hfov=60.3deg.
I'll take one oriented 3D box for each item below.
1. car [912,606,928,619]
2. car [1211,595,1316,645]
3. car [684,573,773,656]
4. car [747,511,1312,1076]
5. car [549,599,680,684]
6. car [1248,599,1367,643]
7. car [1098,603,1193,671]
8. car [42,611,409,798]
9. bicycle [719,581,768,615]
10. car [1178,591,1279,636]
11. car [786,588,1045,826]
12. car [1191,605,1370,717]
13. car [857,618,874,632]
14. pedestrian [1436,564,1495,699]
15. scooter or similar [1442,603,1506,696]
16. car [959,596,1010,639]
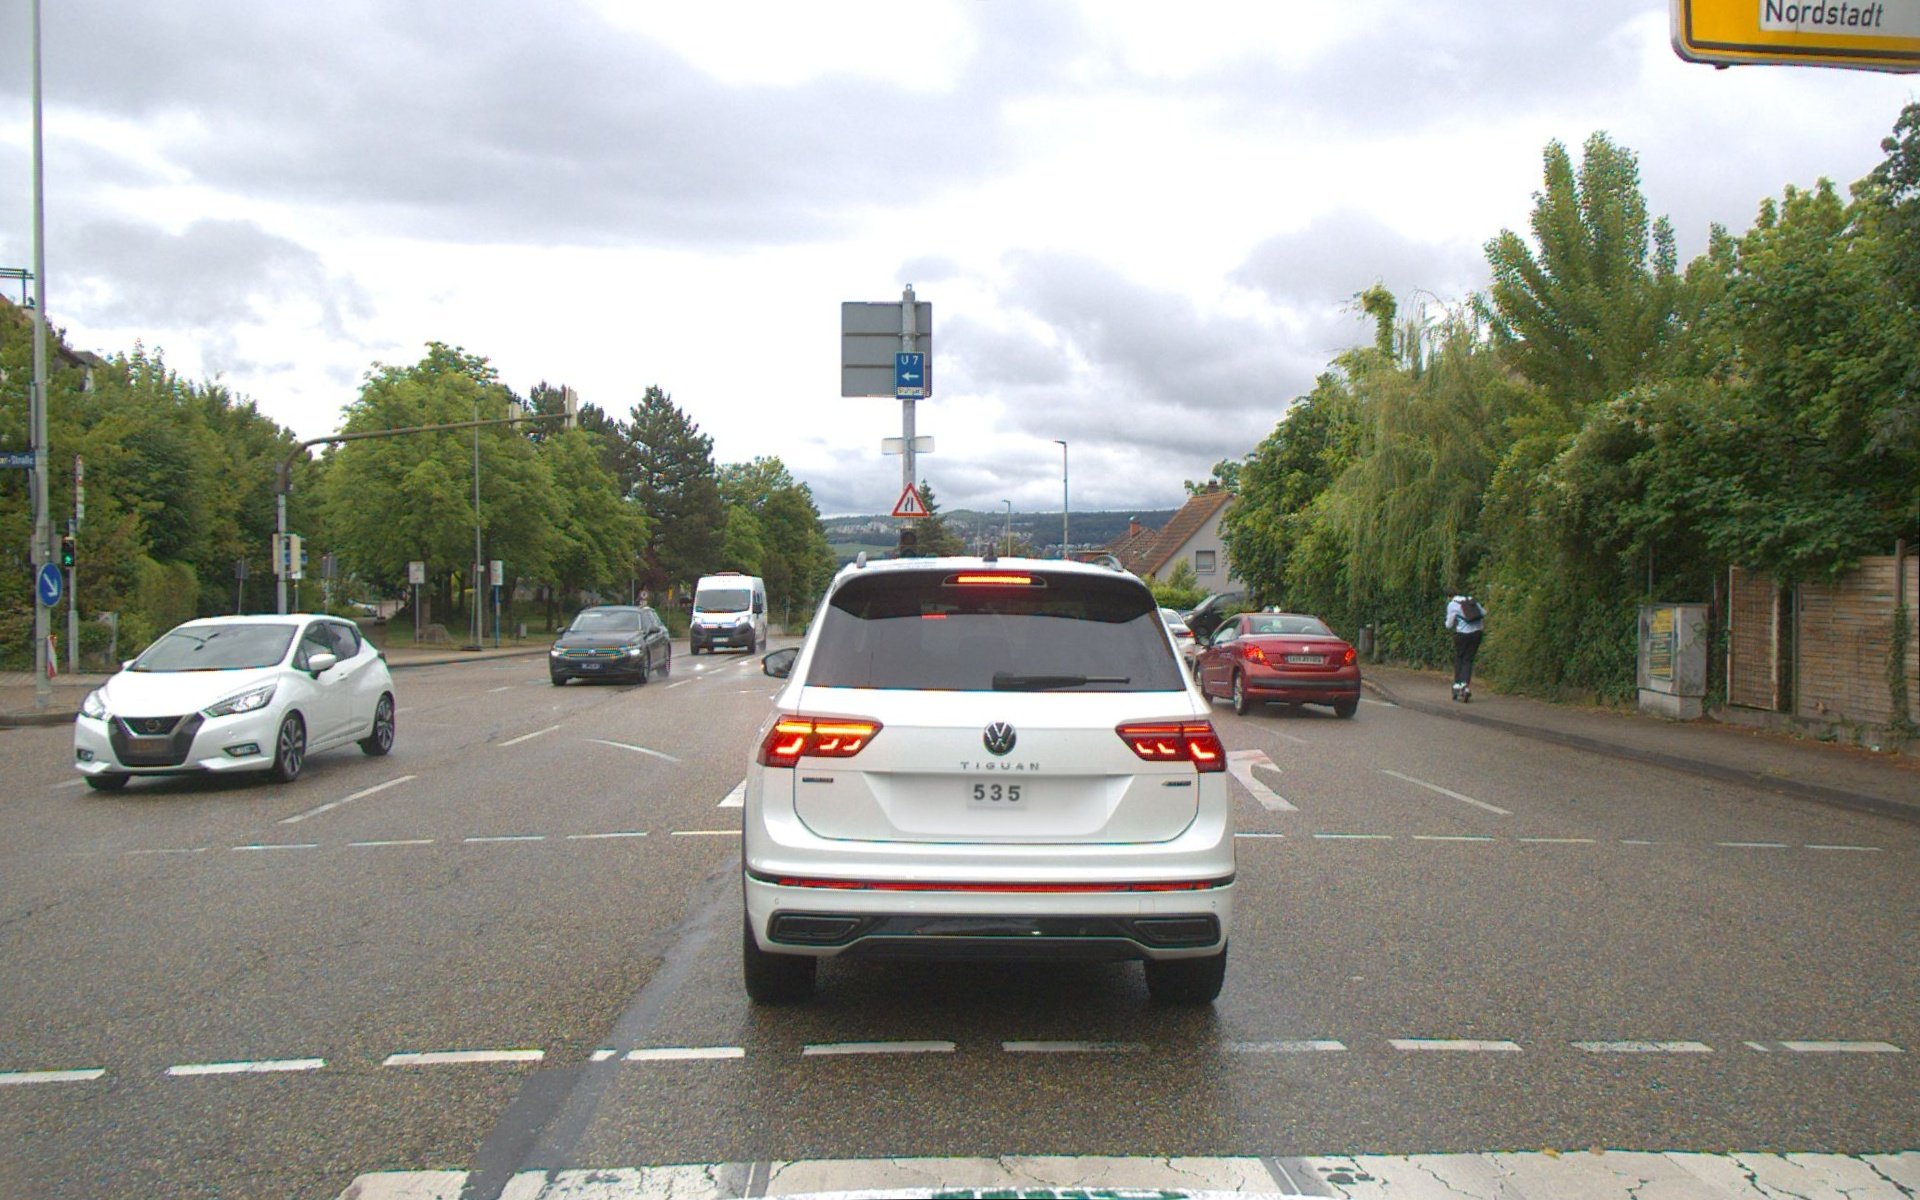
[{"bbox_3d":[-4.847,1.517,200.514,1.813,1.602,3.999,-1,0,-1],"label":"car"},{"bbox_3d":[11.372,0.742,62.099,3.556,1.777,1.706,0,2,-5],"label":"car"},{"bbox_3d":[-7.552,0.424,54.411,2.251,2.572,5.772,-1,0,-2],"label":"car"},{"bbox_3d":[0.165,0.608,7.342,1.727,1.725,4.271,2,0,-2],"label":"car"},{"bbox_3d":[-6.743,0.763,32.710,1.740,1.528,4.470,-1,0,-2],"label":"car"},{"bbox_3d":[11.881,0.724,56.668,3.644,1.420,1.725,0,-1,-8],"label":"car"},{"bbox_3d":[4.299,0.824,38.954,1.631,1.452,4.304,2,0,-1],"label":"car"},{"bbox_3d":[-6.622,0.863,15.385,1.710,1.421,3.801,-2,0,-1],"label":"car"},{"bbox_3d":[-7.532,-0.073,57.551,1.603,1.145,0.468,-2,1,-3],"label":"bicycle"},{"bbox_3d":[10.402,0.522,64.315,3.556,1.654,1.790,0,1,-5],"label":"car"},{"bbox_3d":[-0.318,0.733,13.349,1.762,1.617,3.926,1,0,0],"label":"car"},{"bbox_3d":[4.526,0.820,23.859,1.593,1.427,3.686,1,0,-4],"label":"car"},{"bbox_3d":[-12.354,3.278,216.259,1.953,1.758,3.999,2,0,-1],"label":"car"},{"bbox_3d":[7.741,0.481,25.338,0.643,2.037,0.717,0,0,-7],"label":"pedestrian"},{"bbox_3d":[7.832,0.738,25.247,0.452,1.385,1.383,0,0,-4],"label":"scooter or similar"},{"bbox_3d":[0.942,0.662,65.766,1.701,1.602,4.066,1,0,-3],"label":"car"}]
